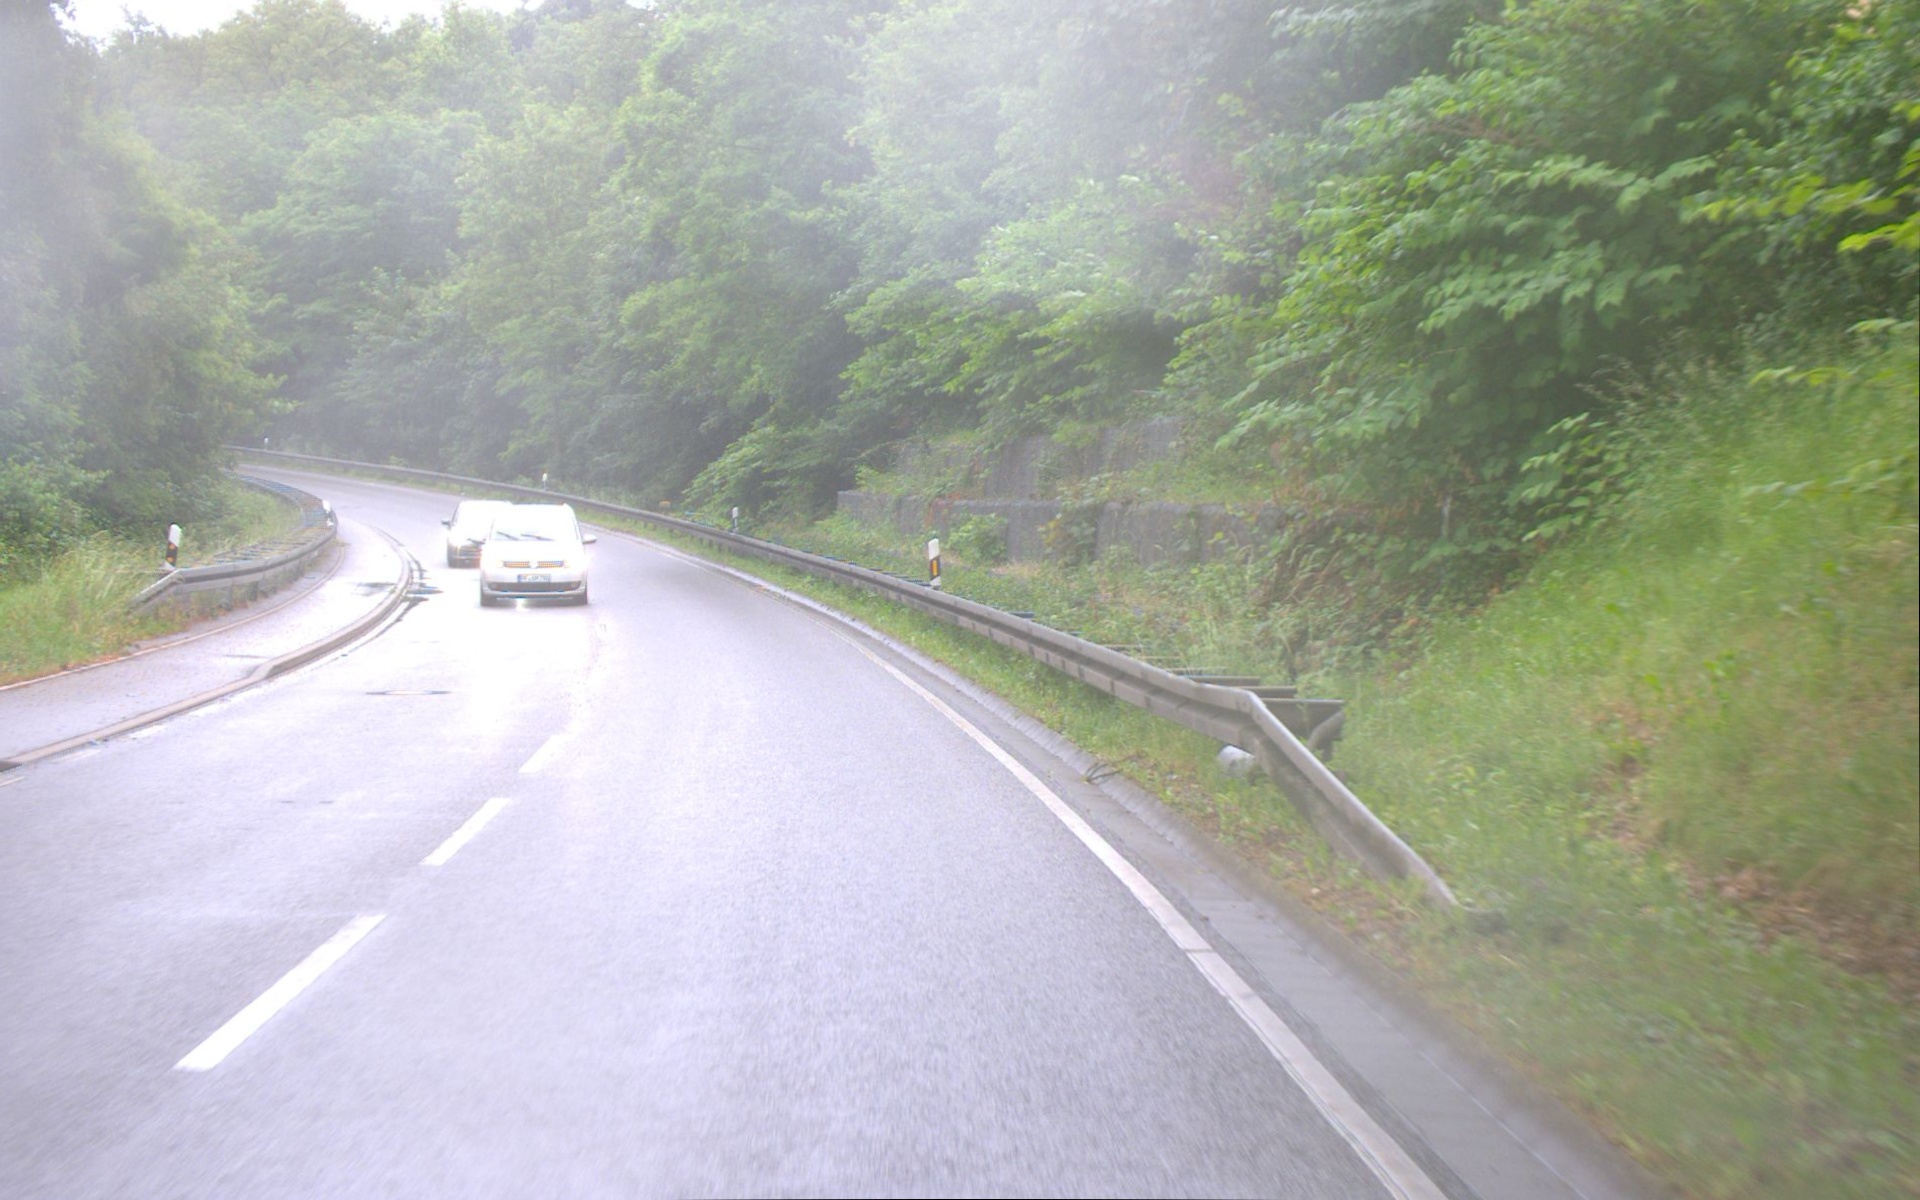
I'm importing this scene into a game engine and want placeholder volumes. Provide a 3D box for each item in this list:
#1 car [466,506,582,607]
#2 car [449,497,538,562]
[{"bbox_3d":[-7.288,-0.742,57.737,1.814,1.642,4.132,0,1,-6],"label":"car"},{"bbox_3d":[-10.580,-1.599,77.799,1.814,1.429,4.001,0,1,-10],"label":"car"}]
